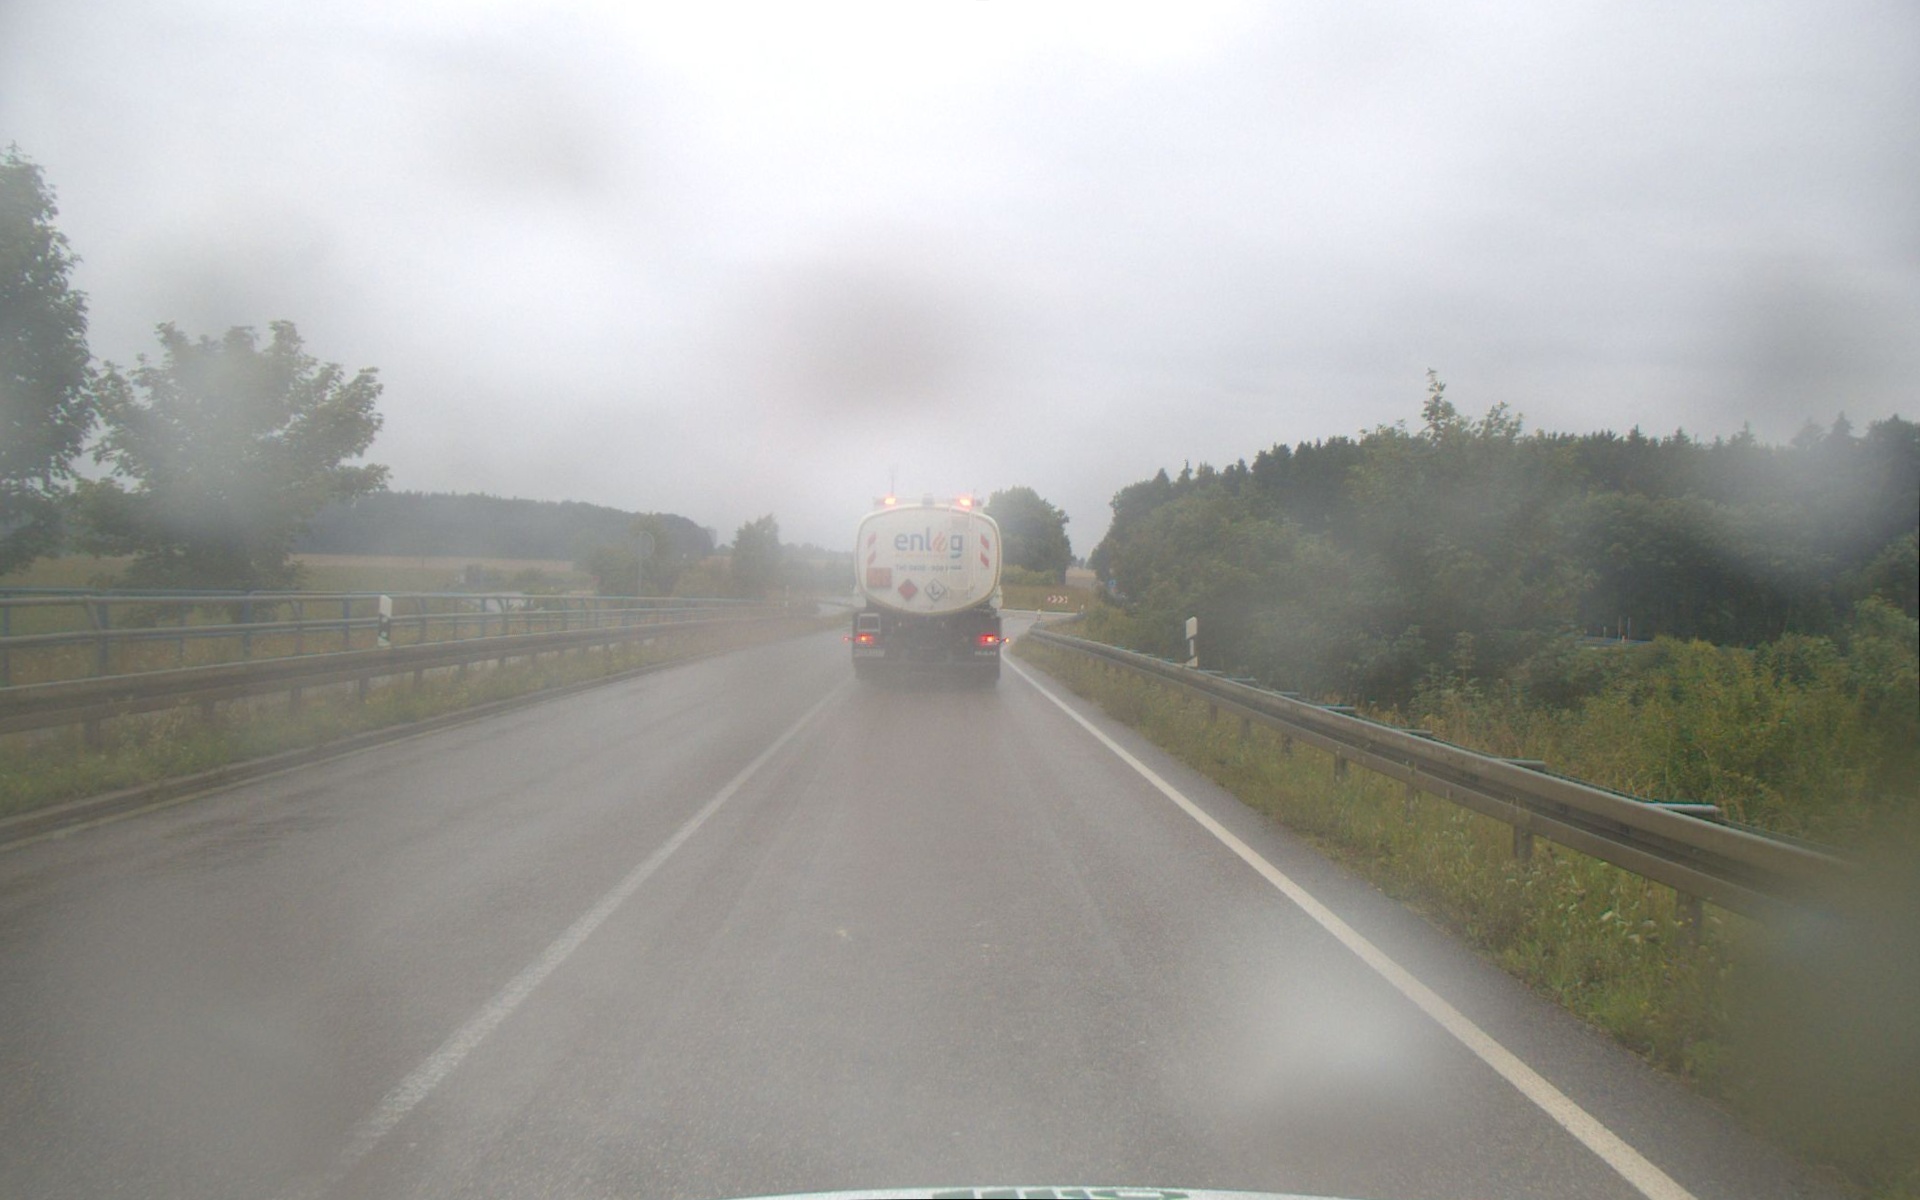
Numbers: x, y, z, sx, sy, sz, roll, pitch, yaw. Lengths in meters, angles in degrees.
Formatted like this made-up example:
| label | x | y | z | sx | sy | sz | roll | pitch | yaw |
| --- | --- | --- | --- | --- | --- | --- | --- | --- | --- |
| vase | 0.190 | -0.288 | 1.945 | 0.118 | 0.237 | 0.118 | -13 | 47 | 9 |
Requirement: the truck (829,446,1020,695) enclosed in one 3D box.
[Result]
| label | x | y | z | sx | sy | sz | roll | pitch | yaw |
| --- | --- | --- | --- | --- | --- | --- | --- | --- | --- |
| truck | -0.550 | -0.499 | 30.608 | 2.977 | 3.919 | 8.822 | 1 | 0 | 0 |
